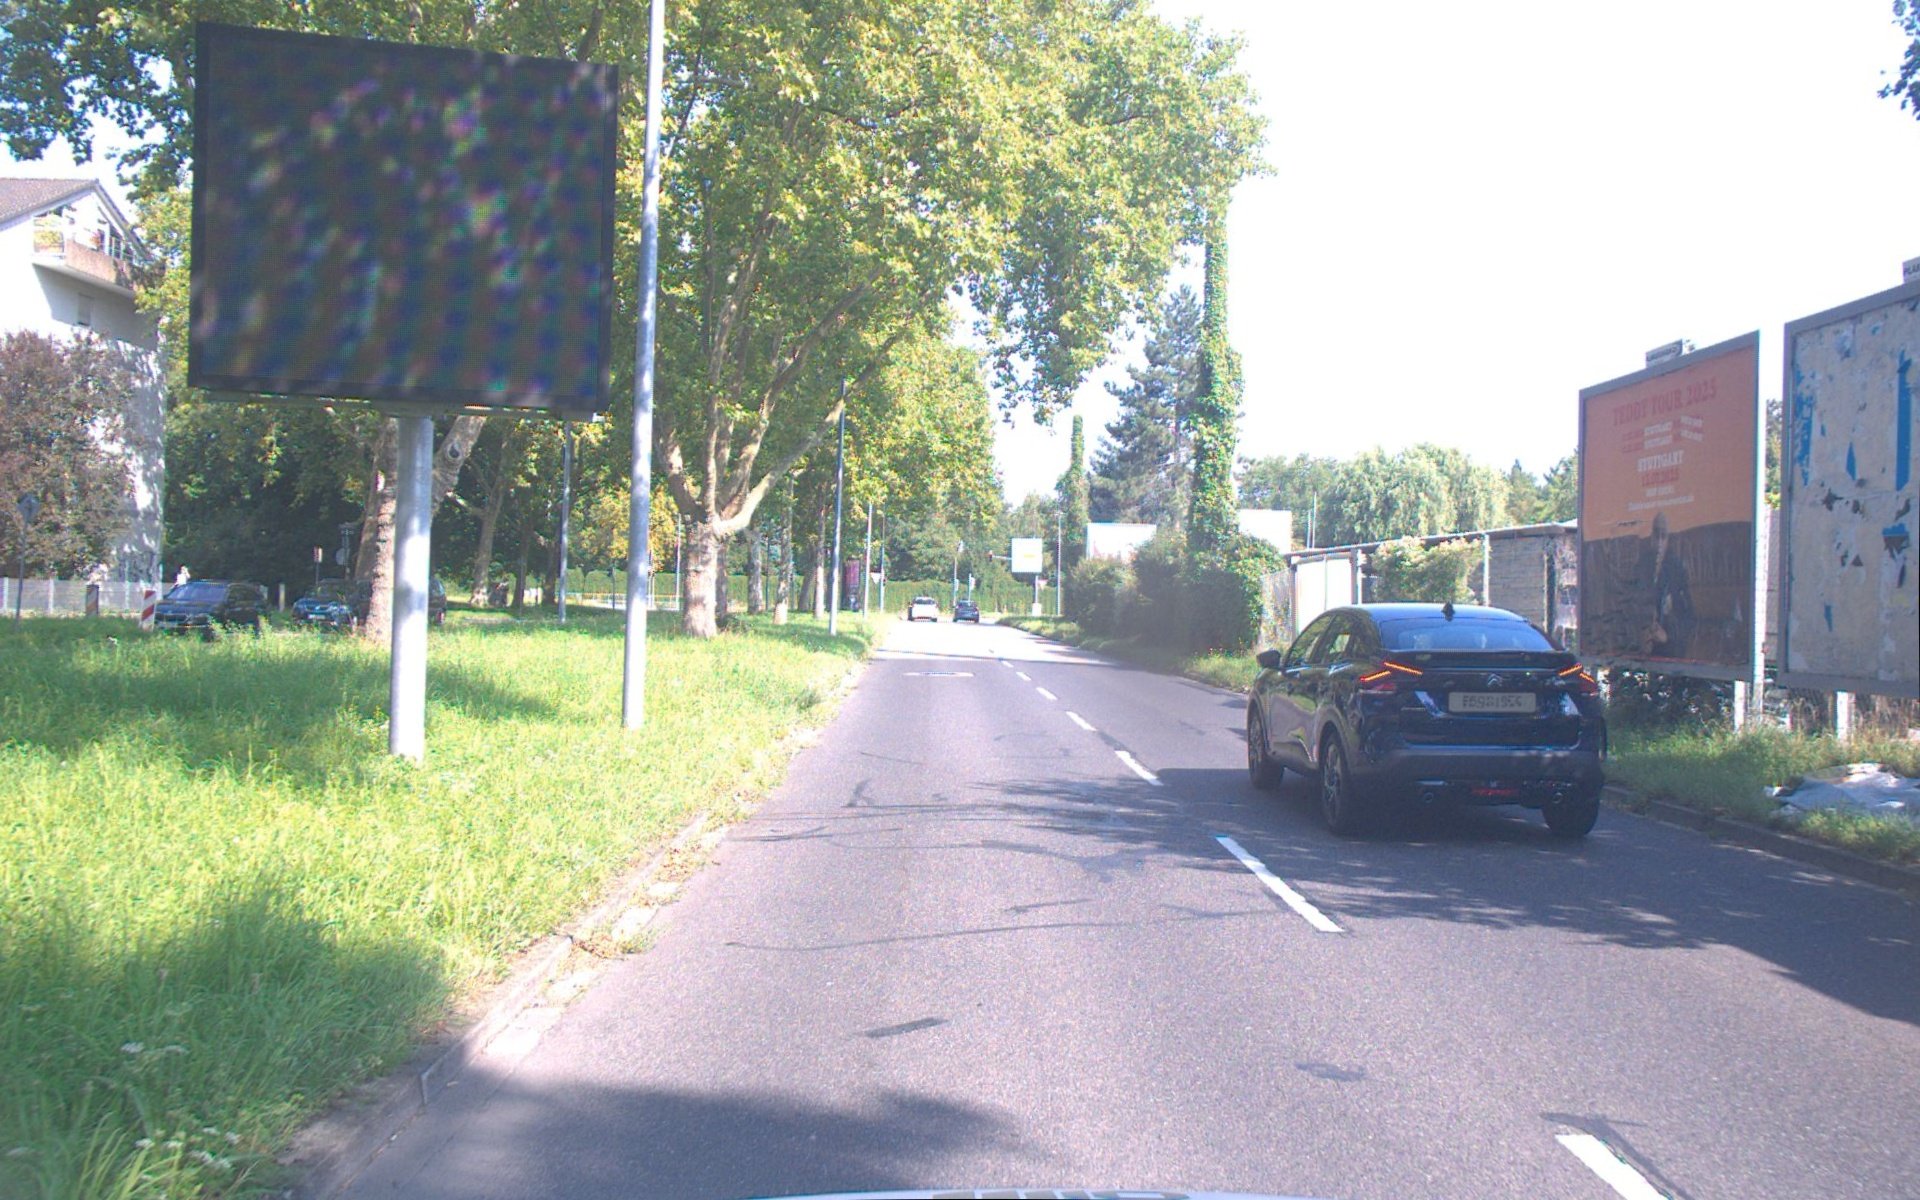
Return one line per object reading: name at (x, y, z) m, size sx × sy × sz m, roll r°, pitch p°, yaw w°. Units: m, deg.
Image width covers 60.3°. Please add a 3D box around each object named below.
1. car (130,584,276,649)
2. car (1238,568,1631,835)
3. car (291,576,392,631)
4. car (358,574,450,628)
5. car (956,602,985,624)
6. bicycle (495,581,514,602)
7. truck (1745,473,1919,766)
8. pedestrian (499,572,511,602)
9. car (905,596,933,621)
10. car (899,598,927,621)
car at (-19.252, 0.422, 42.295) m, size 1.665 × 1.534 × 4.539 m, roll 1°, pitch 0°, yaw -1°
car at (3.280, 0.651, 12.294) m, size 1.612 × 1.616 × 4.253 m, roll 1°, pitch -1°, yaw -1°
car at (-19.267, 0.113, 51.672) m, size 1.665 × 1.595 × 3.999 m, roll 2°, pitch -1°, yaw -1°
car at (-19.672, 0.058, 58.701) m, size 1.665 × 1.762 × 4.658 m, roll 2°, pitch -1°, yaw -1°
car at (0.710, 0.886, 114.622) m, size 1.761 × 1.426 × 3.998 m, roll 2°, pitch -1°, yaw -2°
bicycle at (-26.830, -0.492, 97.516) m, size 0.533 × 1.220 × 2.758 m, roll 2°, pitch -1°, yaw -5°
truck at (8.382, 0.172, 12.177) m, size 1.875 × 2.272 × 6.912 m, roll 2°, pitch -1°, yaw 0°
pedestrian at (-26.815, -0.748, 97.511) m, size 0.532 × 1.720 × 0.657 m, roll 2°, pitch -1°, yaw -5°
car at (-2.625, 0.532, 105.652) m, size 1.653 × 1.487 × 3.999 m, roll 2°, pitch -1°, yaw 0°
car at (-3.224, 0.687, 113.955) m, size 1.652 × 1.487 × 3.851 m, roll 2°, pitch -1°, yaw 3°
